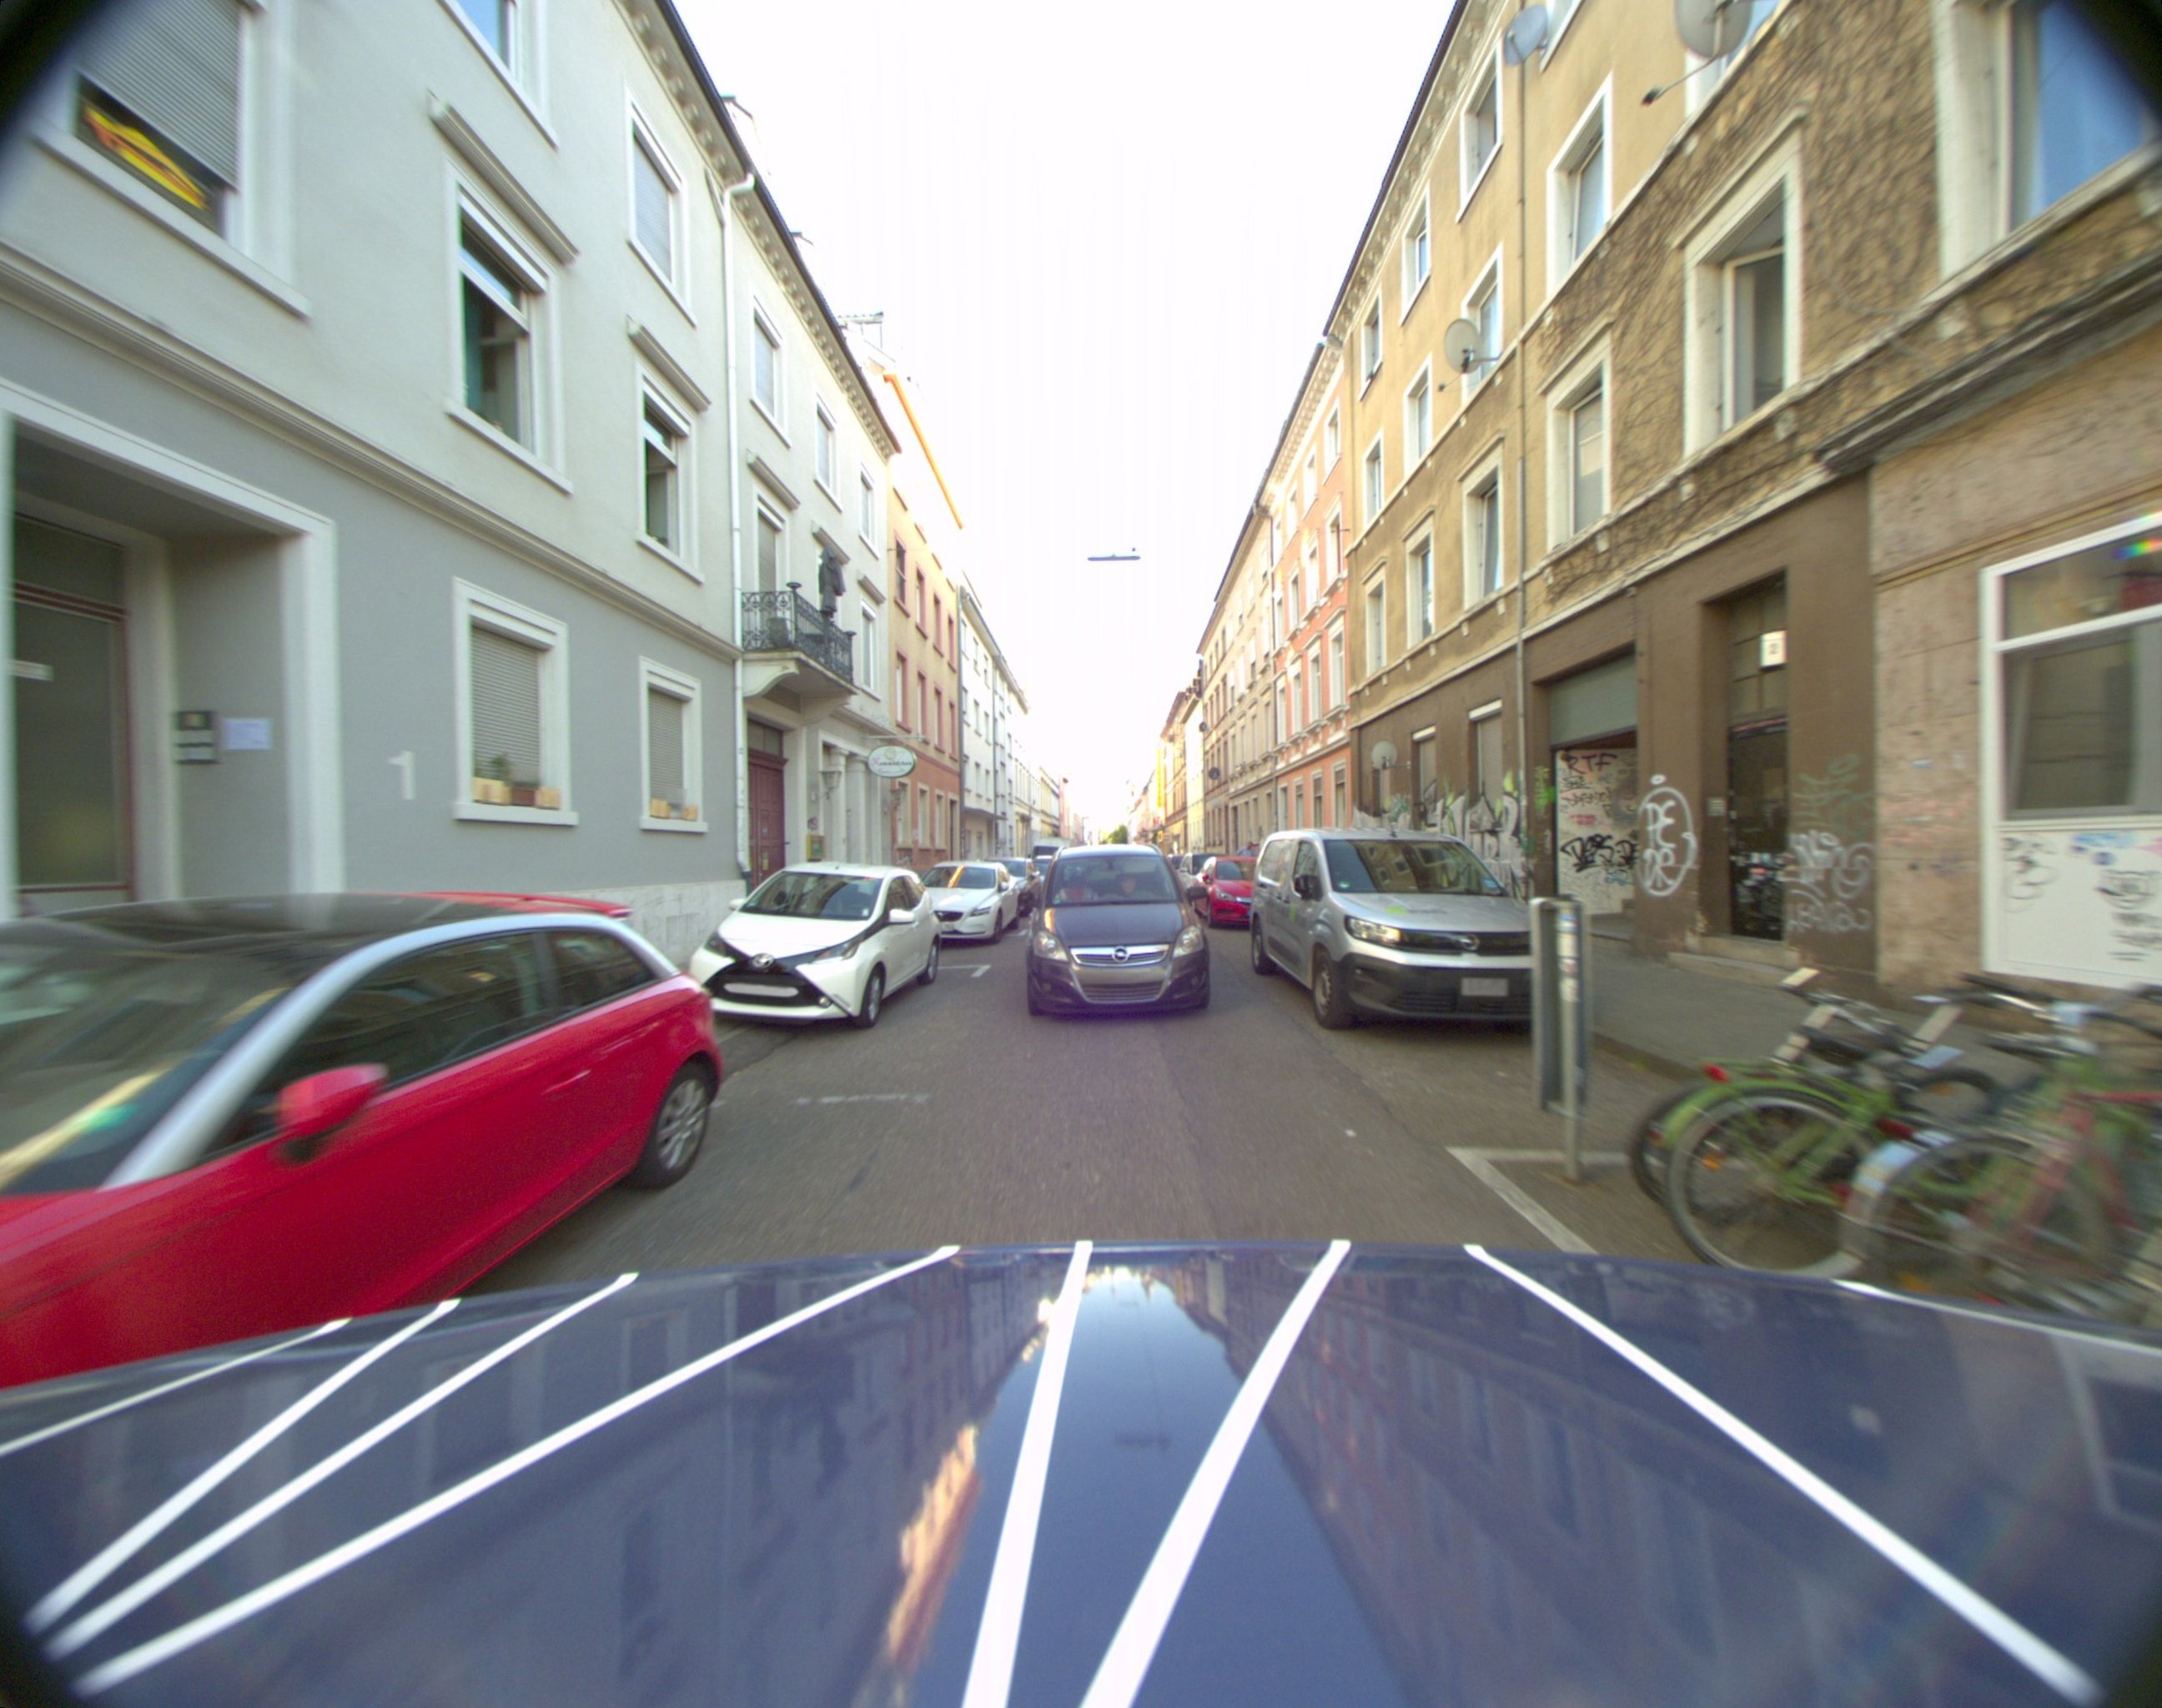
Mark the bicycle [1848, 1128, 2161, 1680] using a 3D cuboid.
[{"bbox_3d":[2.882,1.186,1.746,1.769,0.956,0.443,-1,1,1],"label":"bicycle"}]

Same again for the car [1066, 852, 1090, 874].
[{"bbox_3d":[-0.204,0.682,60.254,1.683,1.626,3.860,-3,0,2],"label":"car"}]

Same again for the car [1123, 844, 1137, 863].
[{"bbox_3d":[6.358,-0.118,98.019,1.683,2.352,4.099,-1,0,2],"label":"car"}]

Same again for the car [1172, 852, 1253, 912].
[{"bbox_3d":[3.566,0.725,21.066,1.683,1.540,2.959,0,0,-2],"label":"car"}]

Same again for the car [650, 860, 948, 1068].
[{"bbox_3d":[-2.620,0.912,8.061,1.640,1.577,3.788,-3,0,1],"label":"car"}]

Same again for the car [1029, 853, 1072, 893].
[{"bbox_3d":[-1.281,0.773,33.253,1.683,1.550,3.859,-3,0,-1],"label":"car"}]

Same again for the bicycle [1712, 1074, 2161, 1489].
[{"bbox_3d":[2.890,1.178,2.192,1.769,0.956,0.422,-1,1,1],"label":"bicycle"}]

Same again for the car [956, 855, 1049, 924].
[{"bbox_3d":[-2.002,0.865,20.560,1.683,1.588,4.191,-3,0,4],"label":"car"}]

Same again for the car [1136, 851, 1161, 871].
[{"bbox_3d":[5.197,0.511,58.681,1.683,1.407,3.860,-1,0,2],"label":"car"}]

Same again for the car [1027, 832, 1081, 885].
[{"bbox_3d":[-1.295,0.217,39.968,2.049,2.498,6.025,-3,0,4],"label":"car"}]

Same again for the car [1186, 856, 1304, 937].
[{"bbox_3d":[3.400,0.812,16.504,1.683,1.465,4.203,1,0,1],"label":"car"}]

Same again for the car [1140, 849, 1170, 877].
[{"bbox_3d":[4.615,0.562,47.958,1.683,1.674,3.860,-1,0,2],"label":"car"}]

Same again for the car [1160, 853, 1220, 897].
[{"bbox_3d":[3.952,0.714,28.026,1.683,1.483,3.611,-1,0,0],"label":"car"}]

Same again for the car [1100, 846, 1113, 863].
[{"bbox_3d":[5.431,0.110,162.066,2.436,3.404,5.543,-3,0,2],"label":"car"}]

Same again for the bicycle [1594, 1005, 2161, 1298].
[{"bbox_3d":[3.109,1.153,3.048,1.769,0.983,0.463,-1,1,1],"label":"bicycle"}]

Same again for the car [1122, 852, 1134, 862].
[{"bbox_3d":[6.968,0.475,113.025,1.683,1.381,3.860,-1,0,2],"label":"car"}]

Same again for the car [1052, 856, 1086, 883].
[{"bbox_3d":[-0.673,0.858,44.986,1.683,1.434,3.860,-3,0,2],"label":"car"}]

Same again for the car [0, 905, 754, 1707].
[{"bbox_3d":[-2.725,1.074,2.302,1.649,1.494,3.955,-3,0,1],"label":"car"}]

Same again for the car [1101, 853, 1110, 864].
[{"bbox_3d":[4.951,0.917,155.271,1.683,2.077,4.159,-3,0,2],"label":"car"}]

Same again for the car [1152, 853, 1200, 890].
[{"bbox_3d":[4.028,0.716,32.815,1.683,1.454,4.313,-1,0,2],"label":"car"}]

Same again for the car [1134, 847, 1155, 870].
[{"bbox_3d":[5.470,0.328,65.394,1.751,1.880,4.772,-1,0,4],"label":"car"}]

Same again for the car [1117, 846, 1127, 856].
[{"bbox_3d":[12.186,-0.944,227.175,2.564,3.029,7.062,-3,0,2],"label":"car"}]

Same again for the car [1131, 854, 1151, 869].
[{"bbox_3d":[5.545,0.667,70.677,1.683,1.381,3.860,-1,0,2],"label":"car"}]

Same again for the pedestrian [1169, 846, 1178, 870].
[{"bbox_3d":[7.358,0.307,60.388,0.626,1.820,0.594,-3,1,3],"label":"pedestrian"}]

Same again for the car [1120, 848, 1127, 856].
[{"bbox_3d":[10.951,-0.537,197.103,1.683,1.851,4.159,-3,0,2],"label":"car"}]

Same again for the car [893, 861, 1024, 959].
[{"bbox_3d":[-2.180,0.951,14.655,1.683,1.501,4.190,-3,0,1],"label":"car"}]

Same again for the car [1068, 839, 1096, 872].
[{"bbox_3d":[0.131,0.137,66.415,2.050,2.662,6.186,-3,0,3],"label":"car"}]

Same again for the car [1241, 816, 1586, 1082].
[{"bbox_3d":[2.913,0.686,7.847,1.683,1.899,4.519,2,0,2],"label":"car"}]

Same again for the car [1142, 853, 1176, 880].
[{"bbox_3d":[4.367,0.682,43.016,1.683,1.454,3.860,-1,0,2],"label":"car"}]

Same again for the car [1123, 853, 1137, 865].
[{"bbox_3d":[5.853,0.537,91.054,1.683,1.381,3.860,-1,0,2],"label":"car"}]

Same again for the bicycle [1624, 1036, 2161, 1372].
[{"bbox_3d":[2.909,1.166,2.616,1.769,0.956,0.405,-1,1,1],"label":"bicycle"}]

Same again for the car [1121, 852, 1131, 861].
[{"bbox_3d":[7.279,0.413,123.224,1.683,1.381,3.860,-1,0,2],"label":"car"}]

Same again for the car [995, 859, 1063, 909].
[{"bbox_3d":[-1.634,0.933,25.264,1.771,1.386,4.495,-3,0,1],"label":"car"}]

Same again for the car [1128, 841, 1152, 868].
[{"bbox_3d":[5.905,0.047,76.706,2.093,2.576,5.843,-1,0,1],"label":"car"}]

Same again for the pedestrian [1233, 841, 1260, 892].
[{"bbox_3d":[6.105,0.452,28.021,0.790,1.820,0.594,-3,1,3],"label":"pedestrian"}]

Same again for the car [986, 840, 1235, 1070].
[{"bbox_3d":[0.295,0.755,8.301,1.798,1.652,5.184,-3,0,2],"label":"car"}]
